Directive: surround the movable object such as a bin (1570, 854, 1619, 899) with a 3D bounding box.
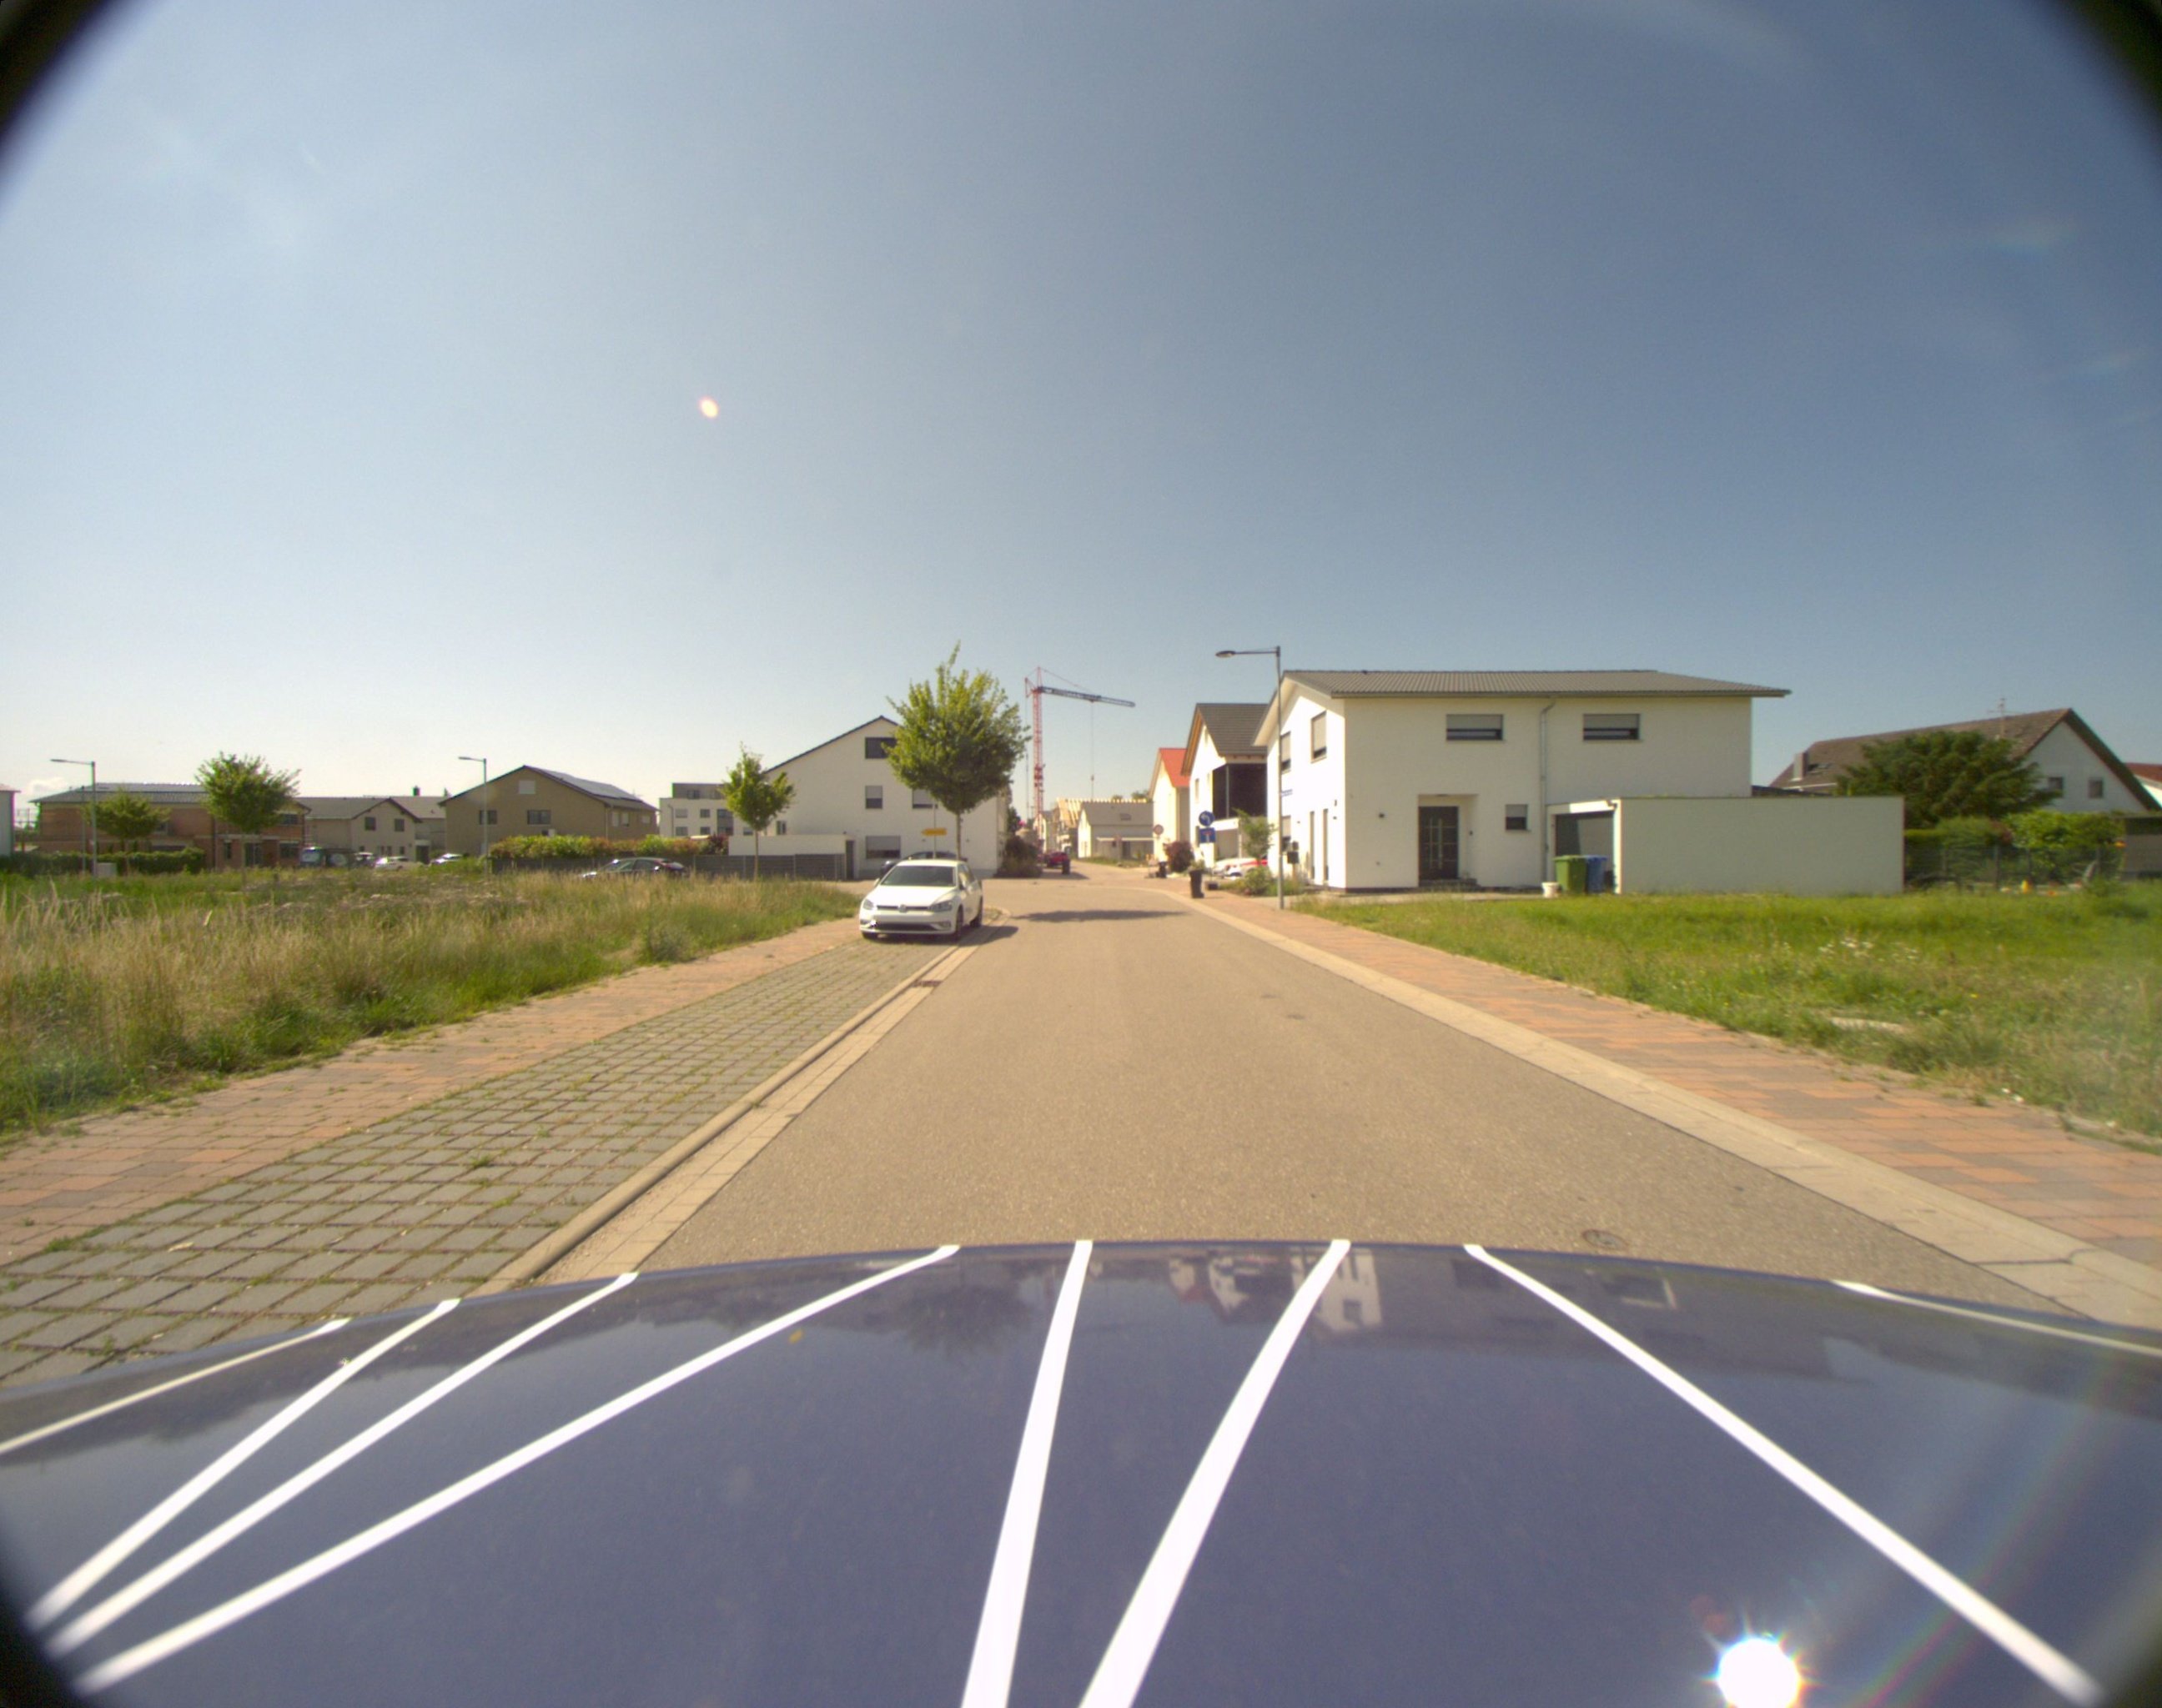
[{"bbox_3d":[13.058,0.565,19.337,0.671,1.092,0.808,0,1,1],"label":"movable object such as a bin"}]

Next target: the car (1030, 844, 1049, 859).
[{"bbox_3d":[-4.829,-0.302,87.779,1.804,1.609,3.671,-1,2,-11],"label":"car"}]

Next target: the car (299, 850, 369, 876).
[{"bbox_3d":[-60.137,0.673,61.258,2.000,2.002,3.996,0,1,-9],"label":"car"}]

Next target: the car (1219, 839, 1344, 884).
[{"bbox_3d":[8.412,0.294,32.170,4.749,1.864,1.937,0,1,-3],"label":"car"}]

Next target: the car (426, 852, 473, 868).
[{"bbox_3d":[-62.001,0.577,74.693,1.750,1.494,3.996,0,1,-9],"label":"car"}]

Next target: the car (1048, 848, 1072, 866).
[{"bbox_3d":[-1.890,0.233,68.407,1.912,1.471,3.997,-1,2,-5],"label":"car"}]

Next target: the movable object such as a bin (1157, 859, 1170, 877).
[{"bbox_3d":[4.436,0.737,40.818,0.618,0.931,0.564,-1,0,-5],"label":"movable object such as a bin"}]

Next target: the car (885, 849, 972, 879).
[{"bbox_3d":[-8.147,0.523,40.889,4.348,1.549,1.960,-1,0,-2],"label":"car"}]

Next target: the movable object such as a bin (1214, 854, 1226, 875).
[{"bbox_3d":[7.586,0.572,41.569,0.500,1.085,0.601,-1,0,-5],"label":"movable object such as a bin"}]

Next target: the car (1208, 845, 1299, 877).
[{"bbox_3d":[8.683,0.340,38.445,4.164,1.553,1.744,0,1,-6],"label":"car"}]

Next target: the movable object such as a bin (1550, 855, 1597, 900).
[{"bbox_3d":[12.432,0.575,19.207,0.661,1.092,0.784,0,1,-1],"label":"movable object such as a bin"}]

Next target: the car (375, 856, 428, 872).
[{"bbox_3d":[-61.047,0.867,68.385,1.668,1.392,3.916,0,1,-9],"label":"car"}]

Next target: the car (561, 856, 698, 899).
[{"bbox_3d":[-17.654,0.909,29.890,4.193,1.485,1.848,-1,2,-7],"label":"car"}]

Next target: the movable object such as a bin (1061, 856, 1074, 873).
[{"bbox_3d":[-0.908,0.687,50.753,0.824,1.058,0.589,-1,2,-5],"label":"movable object such as a bin"}]

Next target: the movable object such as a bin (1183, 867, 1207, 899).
[{"bbox_3d":[3.592,0.913,23.962,0.625,0.943,0.499,-1,2,-5],"label":"movable object such as a bin"}]

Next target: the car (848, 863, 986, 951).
[{"bbox_3d":[-3.049,0.932,15.006,1.780,1.411,4.165,1,0,0],"label":"car"}]
